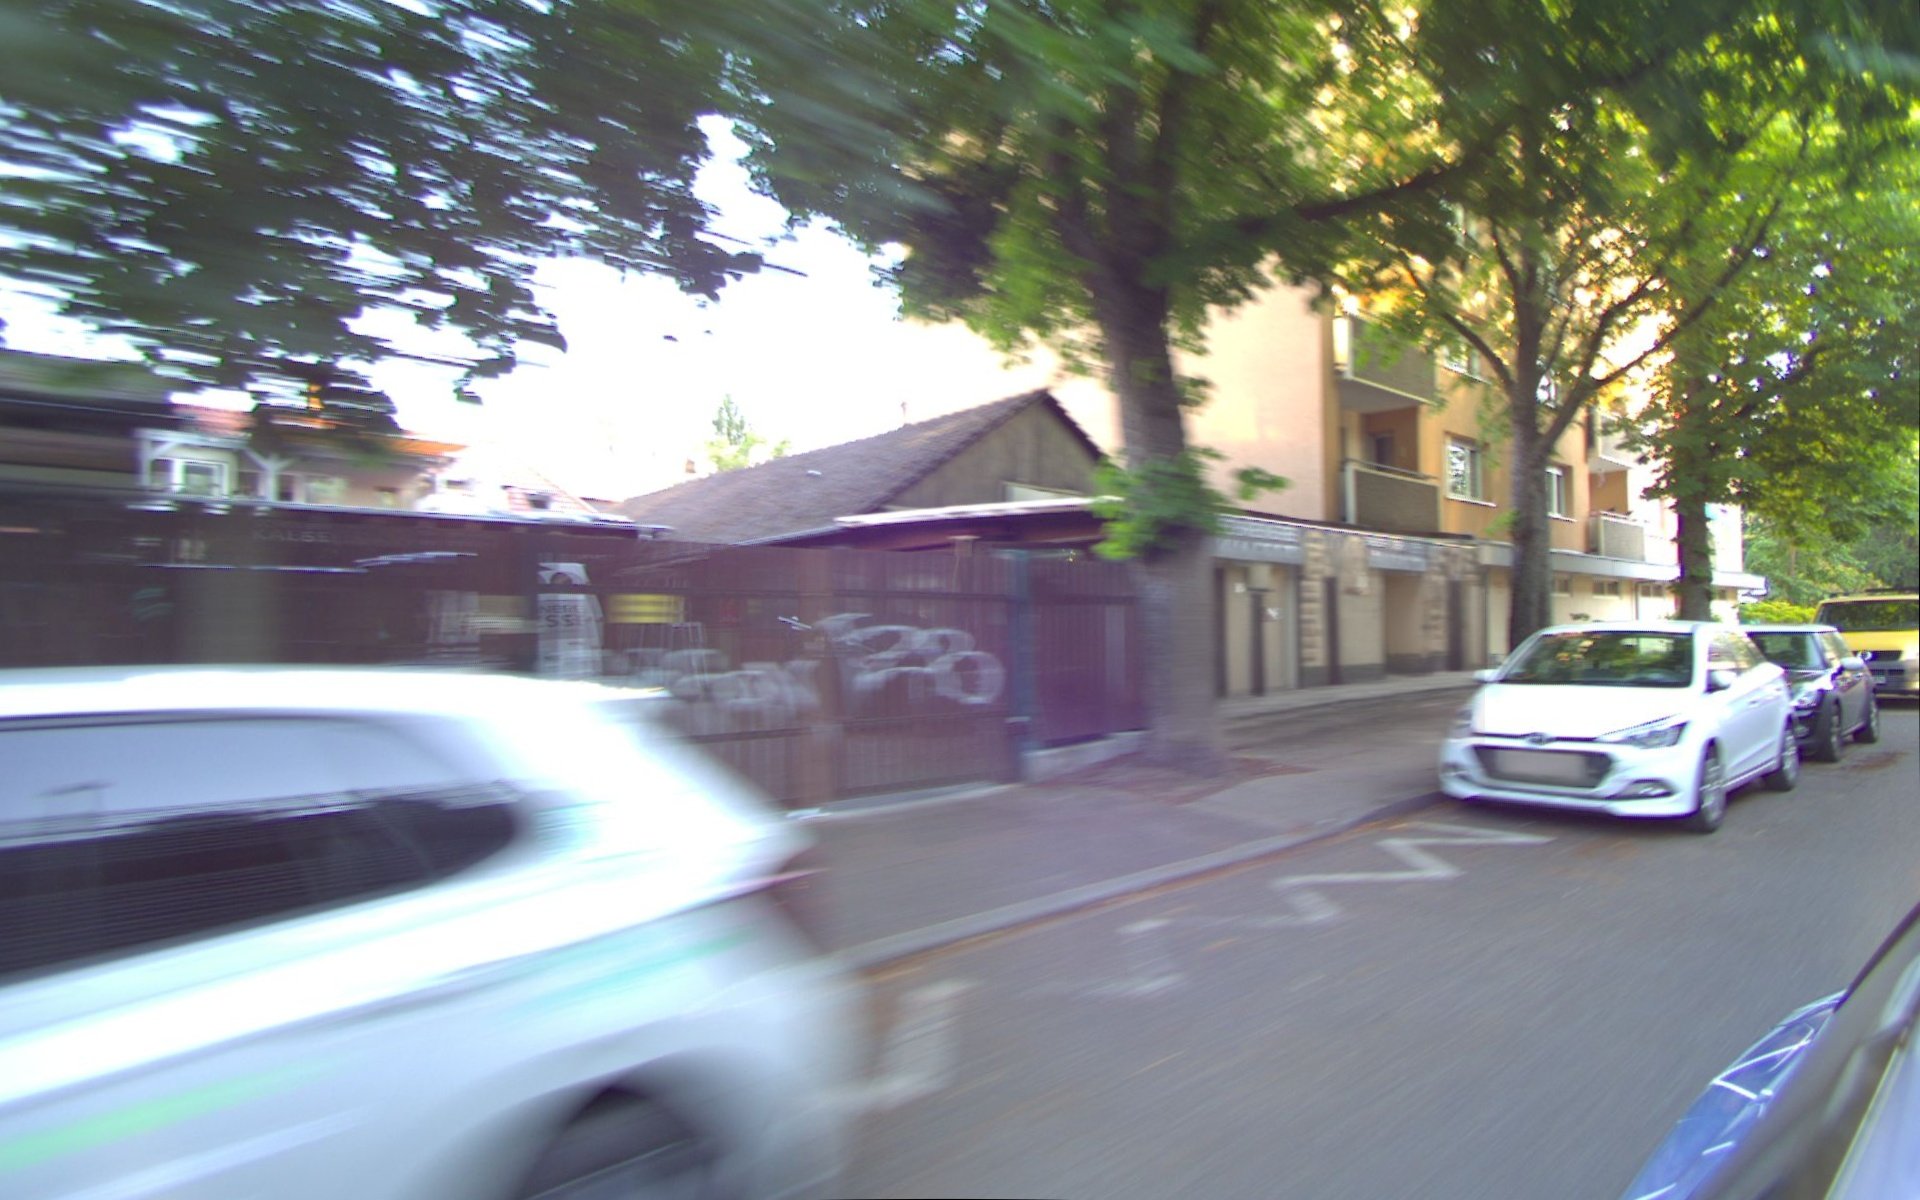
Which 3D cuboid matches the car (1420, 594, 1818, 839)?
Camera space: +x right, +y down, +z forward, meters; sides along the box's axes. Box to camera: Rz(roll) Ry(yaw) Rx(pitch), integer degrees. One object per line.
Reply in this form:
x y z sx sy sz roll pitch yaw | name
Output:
5.547 0.796 8.337 3.955 1.539 1.724 2 -3 -41 | car

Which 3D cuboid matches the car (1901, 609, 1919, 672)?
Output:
24.855 1.002 25.263 3.416 1.530 1.612 1 -2 -41 | car

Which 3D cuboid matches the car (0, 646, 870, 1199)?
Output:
-2.250 0.827 1.567 3.934 1.461 1.762 2 -3 -41 | car

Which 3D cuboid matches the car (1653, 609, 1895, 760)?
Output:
9.342 0.874 11.539 3.392 1.469 1.565 2 -3 -41 | car

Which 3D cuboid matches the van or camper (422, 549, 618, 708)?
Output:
-7.871 0.506 17.924 1.966 2.485 3.991 2 -3 -42 | van or camper

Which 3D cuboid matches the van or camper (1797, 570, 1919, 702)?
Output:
16.982 0.647 18.334 5.002 2.123 2.066 2 -3 -42 | van or camper

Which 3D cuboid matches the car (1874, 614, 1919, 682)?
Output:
21.214 1.021 21.855 3.928 1.400 1.609 2 -3 -39 | car
